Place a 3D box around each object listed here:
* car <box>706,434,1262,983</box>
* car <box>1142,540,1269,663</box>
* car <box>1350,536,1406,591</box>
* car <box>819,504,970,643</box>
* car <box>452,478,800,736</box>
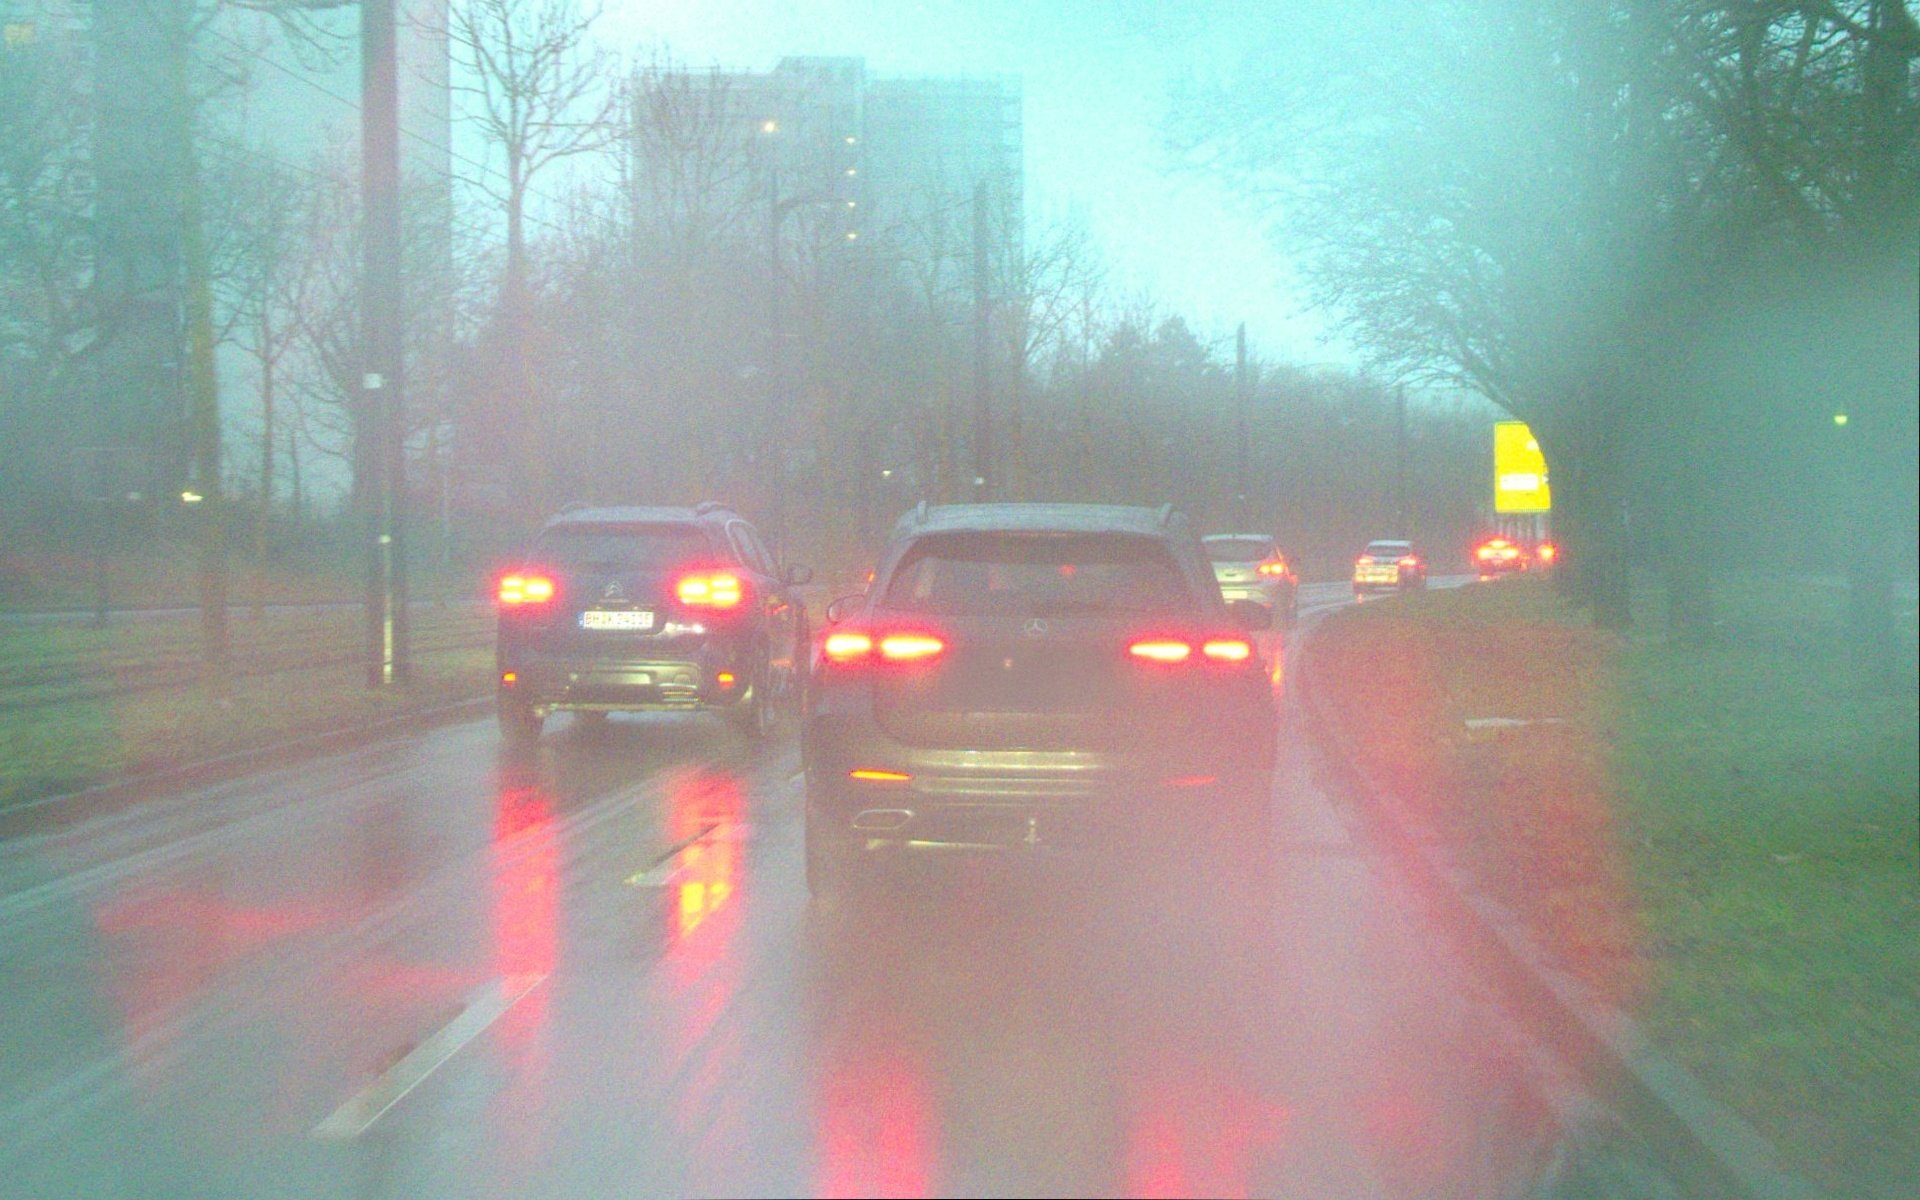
[{"bbox_3d":[0.136,0.401,14.535,1.993,1.969,4.068,1,0,1],"label":"car"},{"bbox_3d":[3.934,0.032,55.631,1.856,1.885,4.000,1,0,1],"label":"car"},{"bbox_3d":[11.932,-1.034,98.170,1.535,1.508,3.342,1,0,7],"label":"car"},{"bbox_3d":[-0.818,-0.373,45.195,1.827,1.733,3.805,1,1,1],"label":"car"},{"bbox_3d":[-2.350,0.054,25.283,1.993,1.706,4.324,1,0,2],"label":"car"}]
